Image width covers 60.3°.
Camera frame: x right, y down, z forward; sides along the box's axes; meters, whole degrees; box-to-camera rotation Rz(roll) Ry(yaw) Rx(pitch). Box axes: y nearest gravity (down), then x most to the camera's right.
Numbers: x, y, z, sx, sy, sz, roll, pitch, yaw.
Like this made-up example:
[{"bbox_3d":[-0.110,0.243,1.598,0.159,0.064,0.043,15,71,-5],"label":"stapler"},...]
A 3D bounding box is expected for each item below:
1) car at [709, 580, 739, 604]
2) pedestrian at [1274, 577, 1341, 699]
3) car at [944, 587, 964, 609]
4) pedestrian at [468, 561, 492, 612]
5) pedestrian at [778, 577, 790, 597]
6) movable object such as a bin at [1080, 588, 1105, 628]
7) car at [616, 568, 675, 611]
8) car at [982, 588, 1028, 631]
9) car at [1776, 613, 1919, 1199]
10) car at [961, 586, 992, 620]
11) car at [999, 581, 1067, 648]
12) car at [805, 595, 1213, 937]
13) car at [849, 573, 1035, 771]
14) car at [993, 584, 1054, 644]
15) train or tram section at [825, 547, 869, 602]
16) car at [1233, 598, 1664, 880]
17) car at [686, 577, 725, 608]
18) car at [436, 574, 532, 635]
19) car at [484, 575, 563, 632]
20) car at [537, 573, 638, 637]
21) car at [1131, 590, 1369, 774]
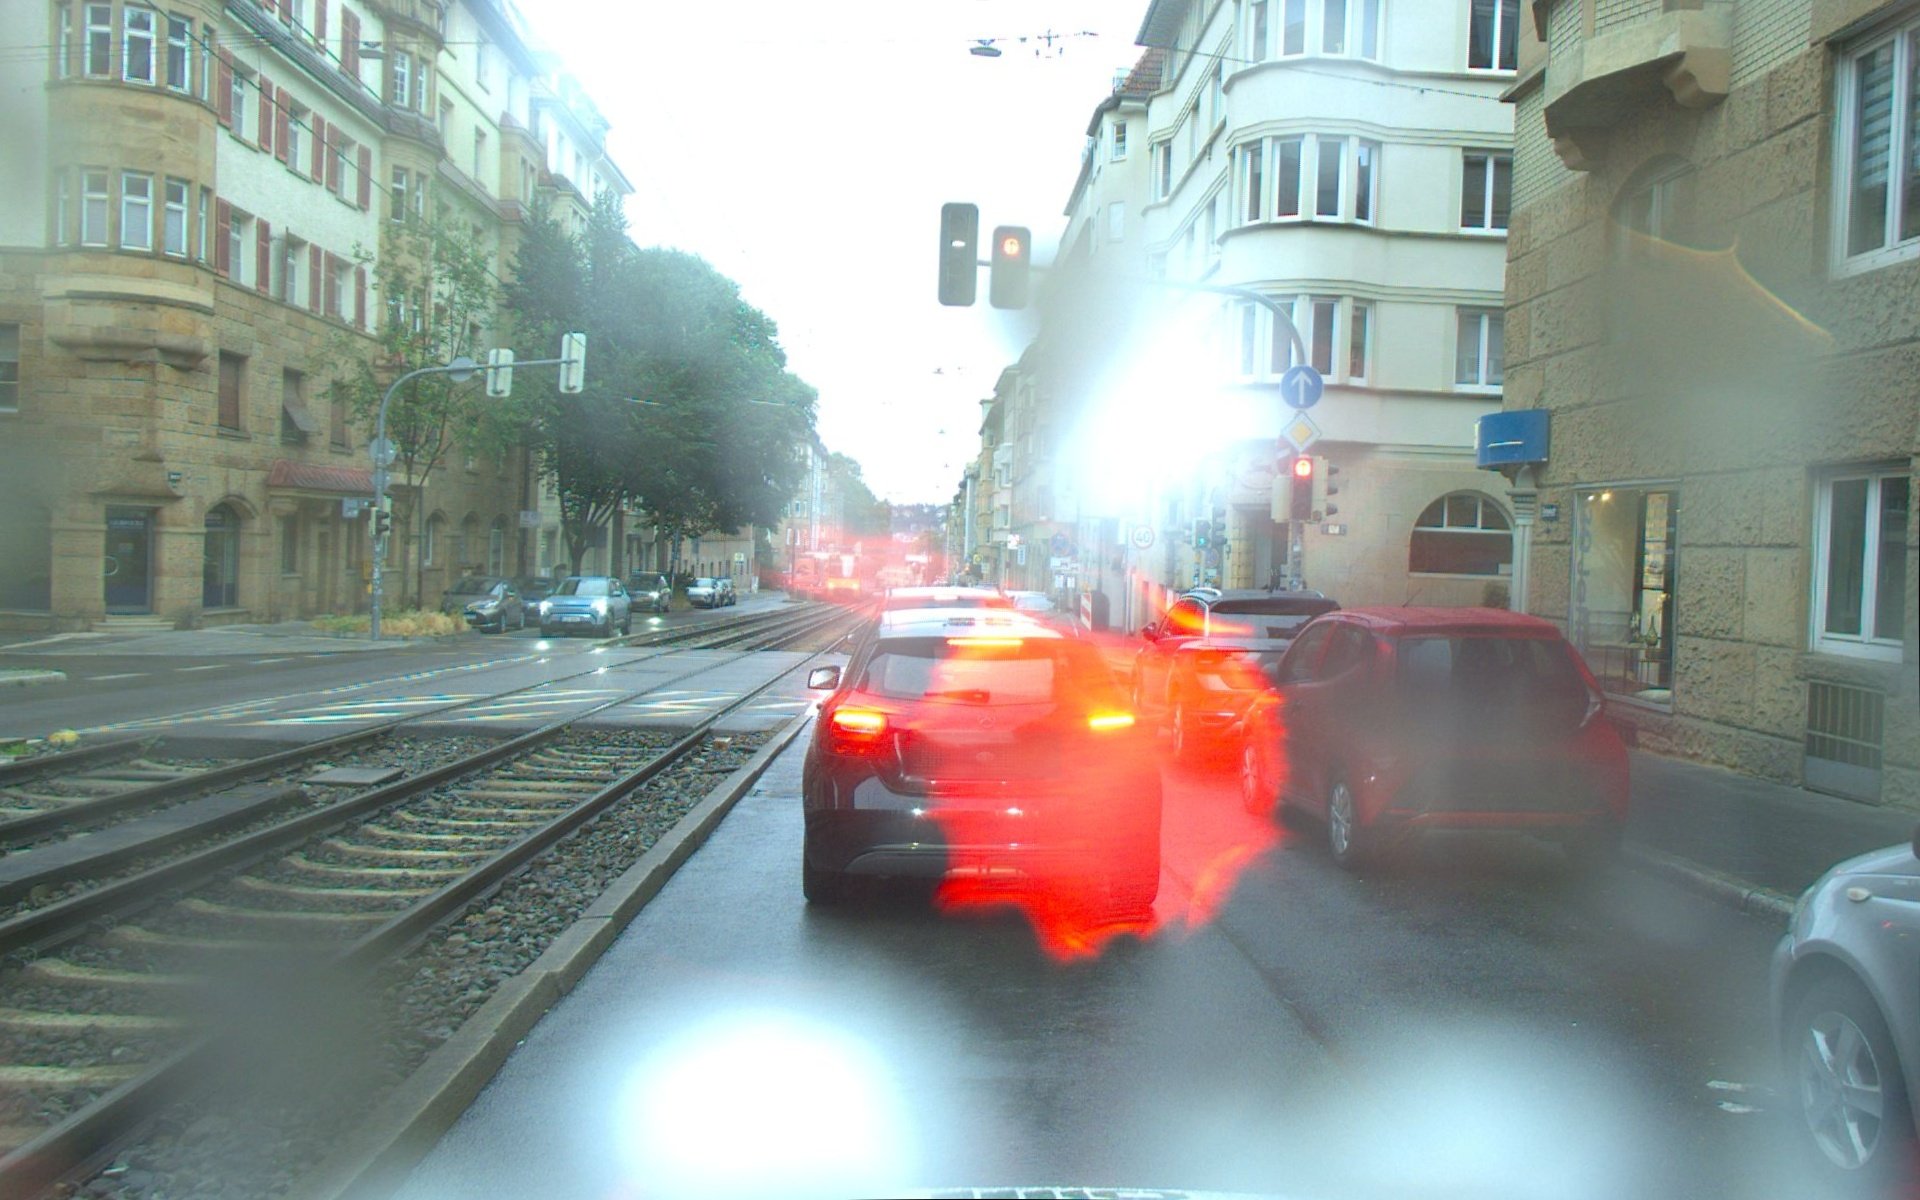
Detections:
[{"bbox_3d":[-14.031,-0.451,98.345,1.419,1.354,3.270,1,0,-3],"label":"car"},{"bbox_3d":[5.202,0.554,24.801,0.726,1.778,1.111,1,-1,-1],"label":"pedestrian"},{"bbox_3d":[-0.463,-0.182,131.862,1.512,1.664,3.687,1,0,1],"label":"car"},{"bbox_3d":[-16.229,-0.460,55.943,0.619,1.702,0.702,1,-1,-6],"label":"pedestrian"},{"bbox_3d":[-18.626,-1.375,175.050,1.031,1.992,1.043,2,0,0],"label":"pedestrian"},{"bbox_3d":[4.759,0.299,59.618,0.859,1.413,0.983,1,-1,3],"label":"movable object such as a bin"},{"bbox_3d":[-13.567,-0.422,71.479,1.837,1.767,3.917,1,0,-1],"label":"car"},{"bbox_3d":[1.659,0.321,61.523,1.513,1.512,3.547,1,0,-1],"label":"car"},{"bbox_3d":[3.122,0.791,3.076,1.581,1.493,3.312,0,0,0],"label":"car"},{"bbox_3d":[0.718,0.125,73.581,1.268,1.467,2.928,1,0,-1],"label":"car"},{"bbox_3d":[1.835,0.348,42.641,1.513,1.618,3.547,1,0,-1],"label":"car"},{"bbox_3d":[0.189,0.734,9.426,1.792,1.483,4.103,1,0,-1],"label":"car"},{"bbox_3d":[-0.179,0.618,15.809,1.533,1.637,3.813,1,0,-1],"label":"car"},{"bbox_3d":[1.765,0.374,47.115,1.513,1.618,3.547,1,0,-1],"label":"car"},{"bbox_3d":[-8.574,-1.852,126.185,2.726,3.928,10.427,1,0,-1],"label":"train or tram section"},{"bbox_3d":[2.904,0.751,10.535,1.609,1.473,3.297,1,0,-3],"label":"car"},{"bbox_3d":[-13.663,-0.394,88.940,1.557,1.608,3.917,1,0,-1],"label":"car"},{"bbox_3d":[-13.016,0.121,45.469,1.718,1.579,4.032,1,0,-4],"label":"car"},{"bbox_3d":[-13.281,0.102,50.496,1.683,1.639,3.914,1,0,-5],"label":"car"},{"bbox_3d":[-10.051,0.139,44.901,1.860,1.615,3.972,1,0,-1],"label":"car"},{"bbox_3d":[2.628,0.678,15.771,1.513,1.512,3.829,1,0,-1],"label":"car"}]
